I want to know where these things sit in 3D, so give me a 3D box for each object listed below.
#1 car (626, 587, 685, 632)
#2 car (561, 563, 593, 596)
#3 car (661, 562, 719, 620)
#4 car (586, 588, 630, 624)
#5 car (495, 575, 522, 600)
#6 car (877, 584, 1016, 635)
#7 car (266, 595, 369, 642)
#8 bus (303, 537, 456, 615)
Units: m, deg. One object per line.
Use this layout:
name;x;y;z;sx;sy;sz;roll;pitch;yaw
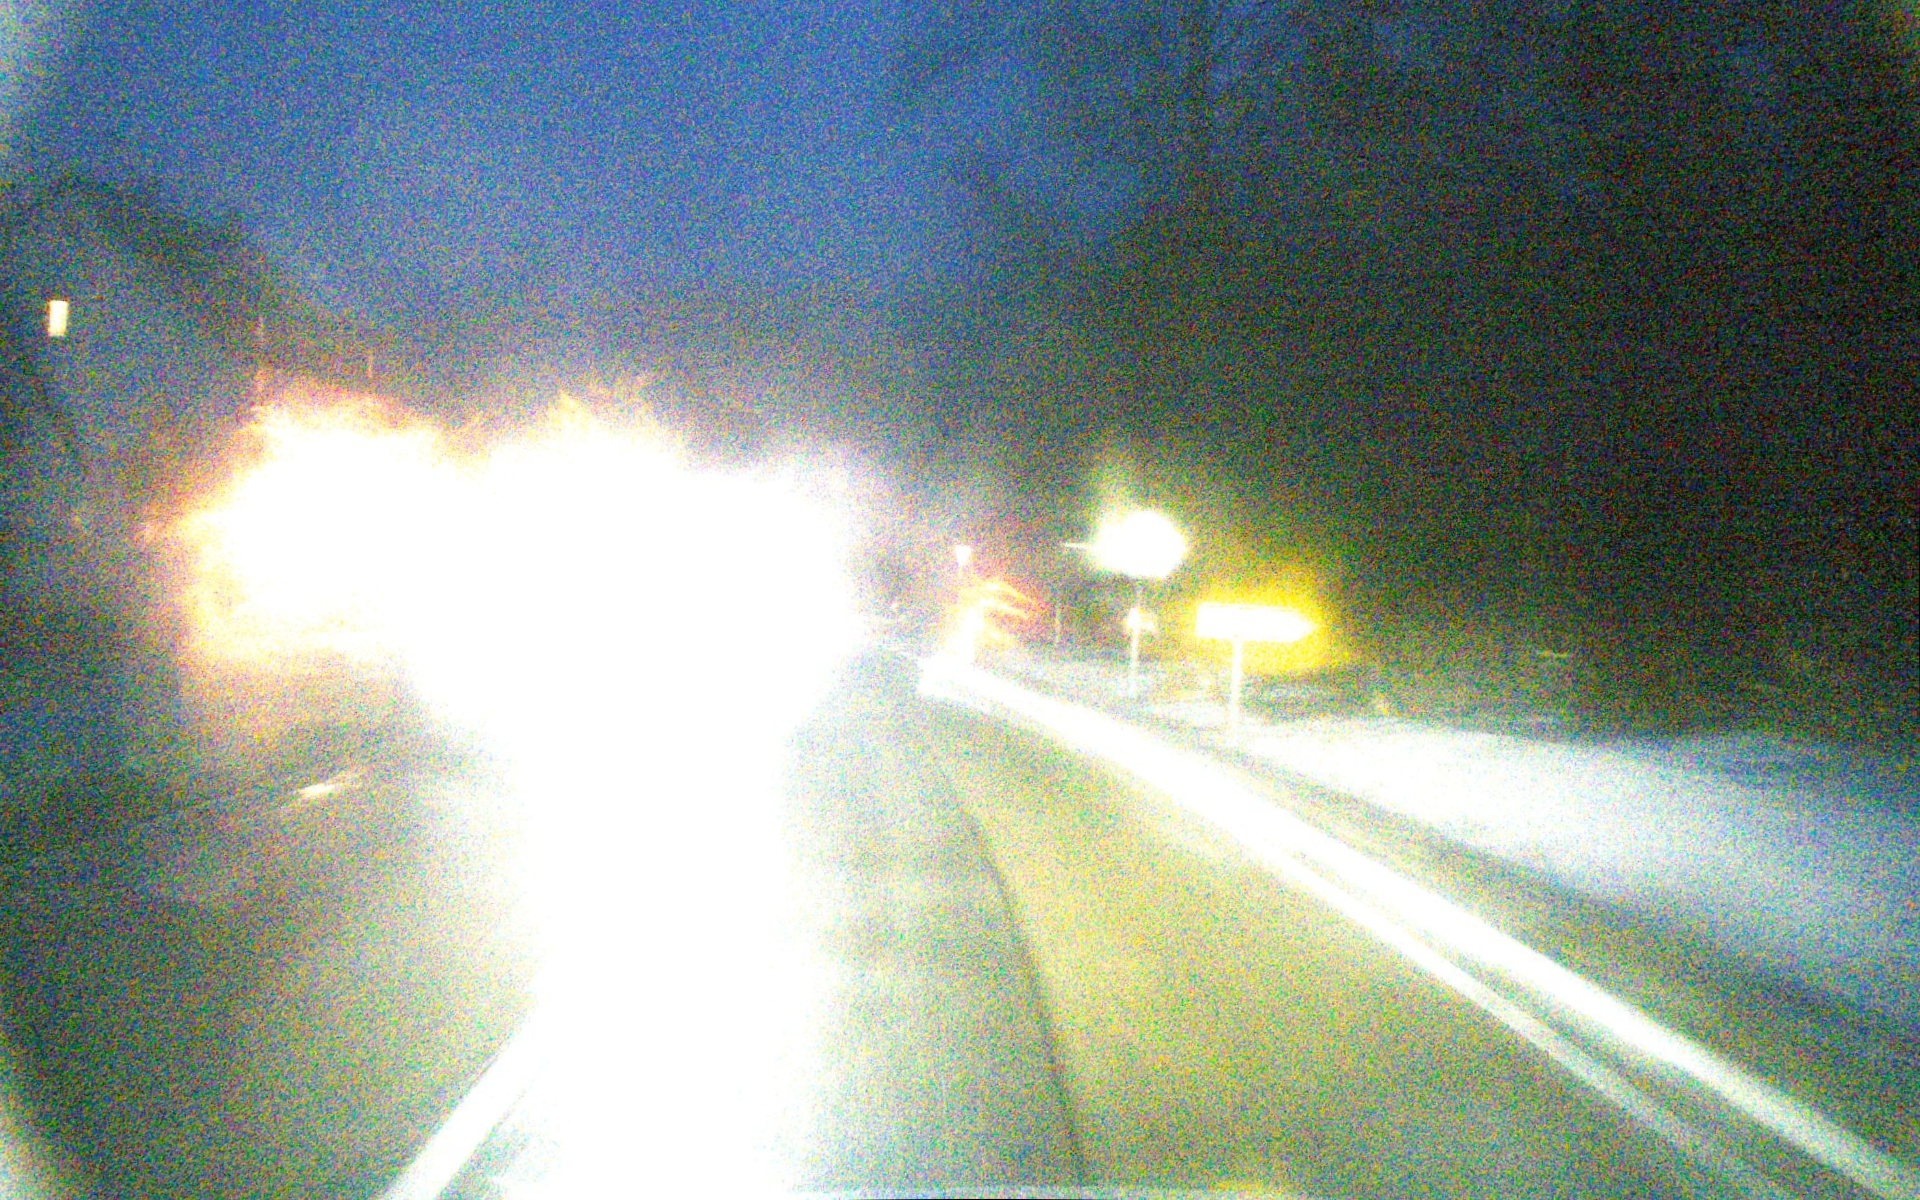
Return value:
car;-11.403;0.355;61.738;1.922;1.549;4.384;2;-1;-13
car;-25.530;-1.335;110.259;1.959;2.049;3.986;2;-1;-14
car;-13.574;-0.511;82.858;2.495;2.540;5.698;1;3;-13
car;-16.044;0.264;75.322;1.684;1.502;3.853;2;0;-16
car;-30.680;-0.871;112.382;1.669;1.627;3.783;0;1;-17
car;-0.505;0.350;59.772;4.673;1.721;1.956;1;-1;32
car;-21.828;0.594;56.335;1.653;1.422;4.152;-2;1;3
bus;-31.516;-1.379;89.331;2.879;3.936;12.853;0;1;-43
